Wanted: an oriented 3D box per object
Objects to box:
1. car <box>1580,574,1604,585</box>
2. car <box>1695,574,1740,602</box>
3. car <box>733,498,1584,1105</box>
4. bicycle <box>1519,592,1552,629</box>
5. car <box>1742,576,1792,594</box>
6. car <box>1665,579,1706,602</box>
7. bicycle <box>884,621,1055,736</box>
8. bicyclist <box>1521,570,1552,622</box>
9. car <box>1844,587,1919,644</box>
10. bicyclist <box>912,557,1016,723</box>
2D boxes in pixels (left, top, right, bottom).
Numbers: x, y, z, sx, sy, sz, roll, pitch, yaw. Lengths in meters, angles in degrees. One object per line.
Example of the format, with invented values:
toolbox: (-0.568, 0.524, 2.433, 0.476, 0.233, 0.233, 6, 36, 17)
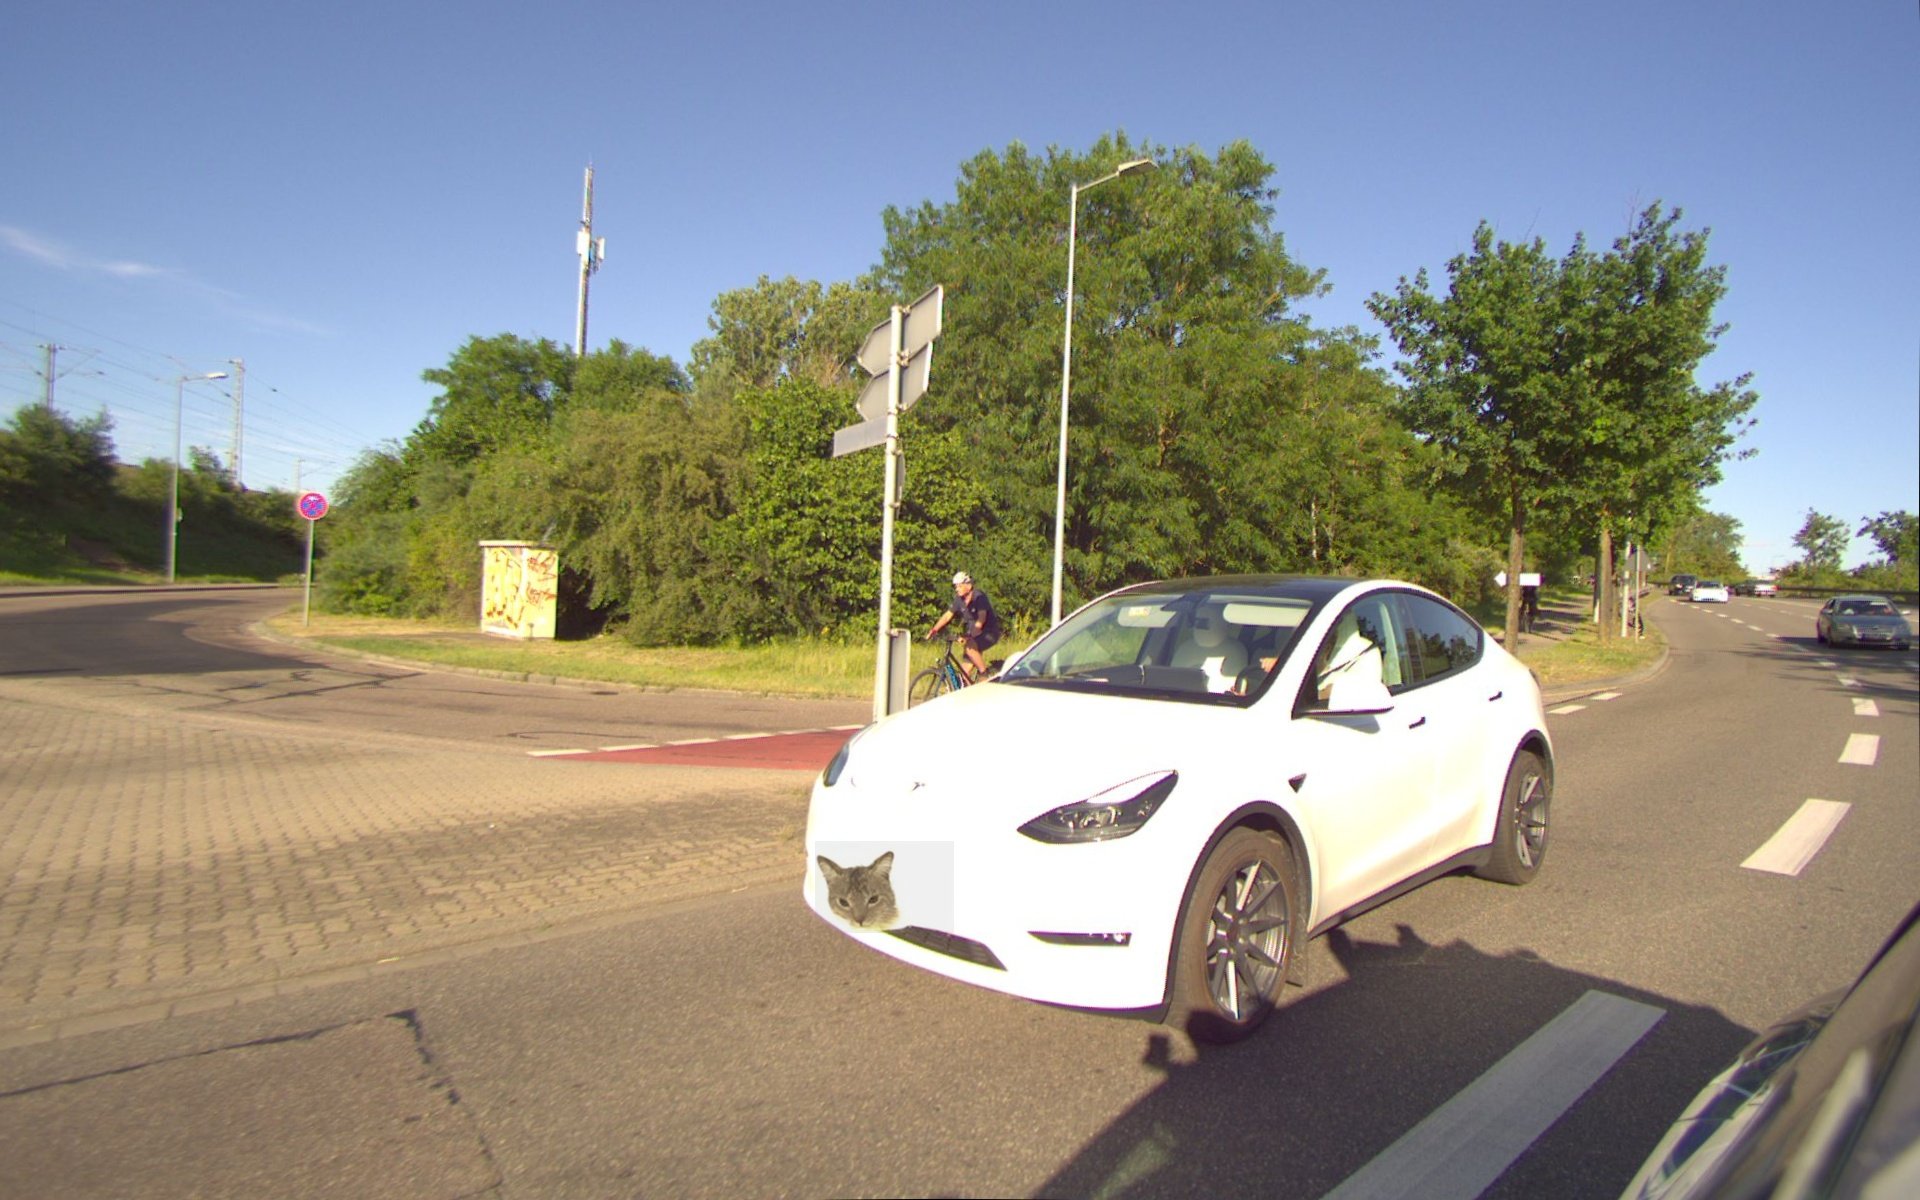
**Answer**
car: (88.120, -2.833, 141.156, 1.743, 1.507, 4.256, 0, 2, 16)
car: (49.543, -0.812, 66.276, 2.139, 1.586, 4.144, 6, 4, 36)
car: (1.299, 0.592, 4.966, 4.334, 1.662, 1.916, 2, -1, -43)
bicycle: (18.554, 0.316, 32.608, 0.699, 1.087, 1.897, 4, 3, 34)
car: (63.731, -1.204, 79.965, 1.714, 1.403, 4.467, 0, 1, 20)
car: (57.394, -0.774, 80.107, 1.981, 1.738, 4.231, 1, 1, 27)
bicycle: (0.153, 0.849, 11.613, 0.695, 1.108, 2.084, 5, 4, 44)
bicyclist: (18.610, -0.146, 32.642, 0.705, 1.597, 0.992, 4, 3, 35)
car: (26.616, 0.392, 29.108, 1.678, 1.459, 3.799, 1, 2, 43)
bicyclist: (0.050, 0.430, 11.646, 0.675, 1.798, 0.933, 5, 3, 44)
